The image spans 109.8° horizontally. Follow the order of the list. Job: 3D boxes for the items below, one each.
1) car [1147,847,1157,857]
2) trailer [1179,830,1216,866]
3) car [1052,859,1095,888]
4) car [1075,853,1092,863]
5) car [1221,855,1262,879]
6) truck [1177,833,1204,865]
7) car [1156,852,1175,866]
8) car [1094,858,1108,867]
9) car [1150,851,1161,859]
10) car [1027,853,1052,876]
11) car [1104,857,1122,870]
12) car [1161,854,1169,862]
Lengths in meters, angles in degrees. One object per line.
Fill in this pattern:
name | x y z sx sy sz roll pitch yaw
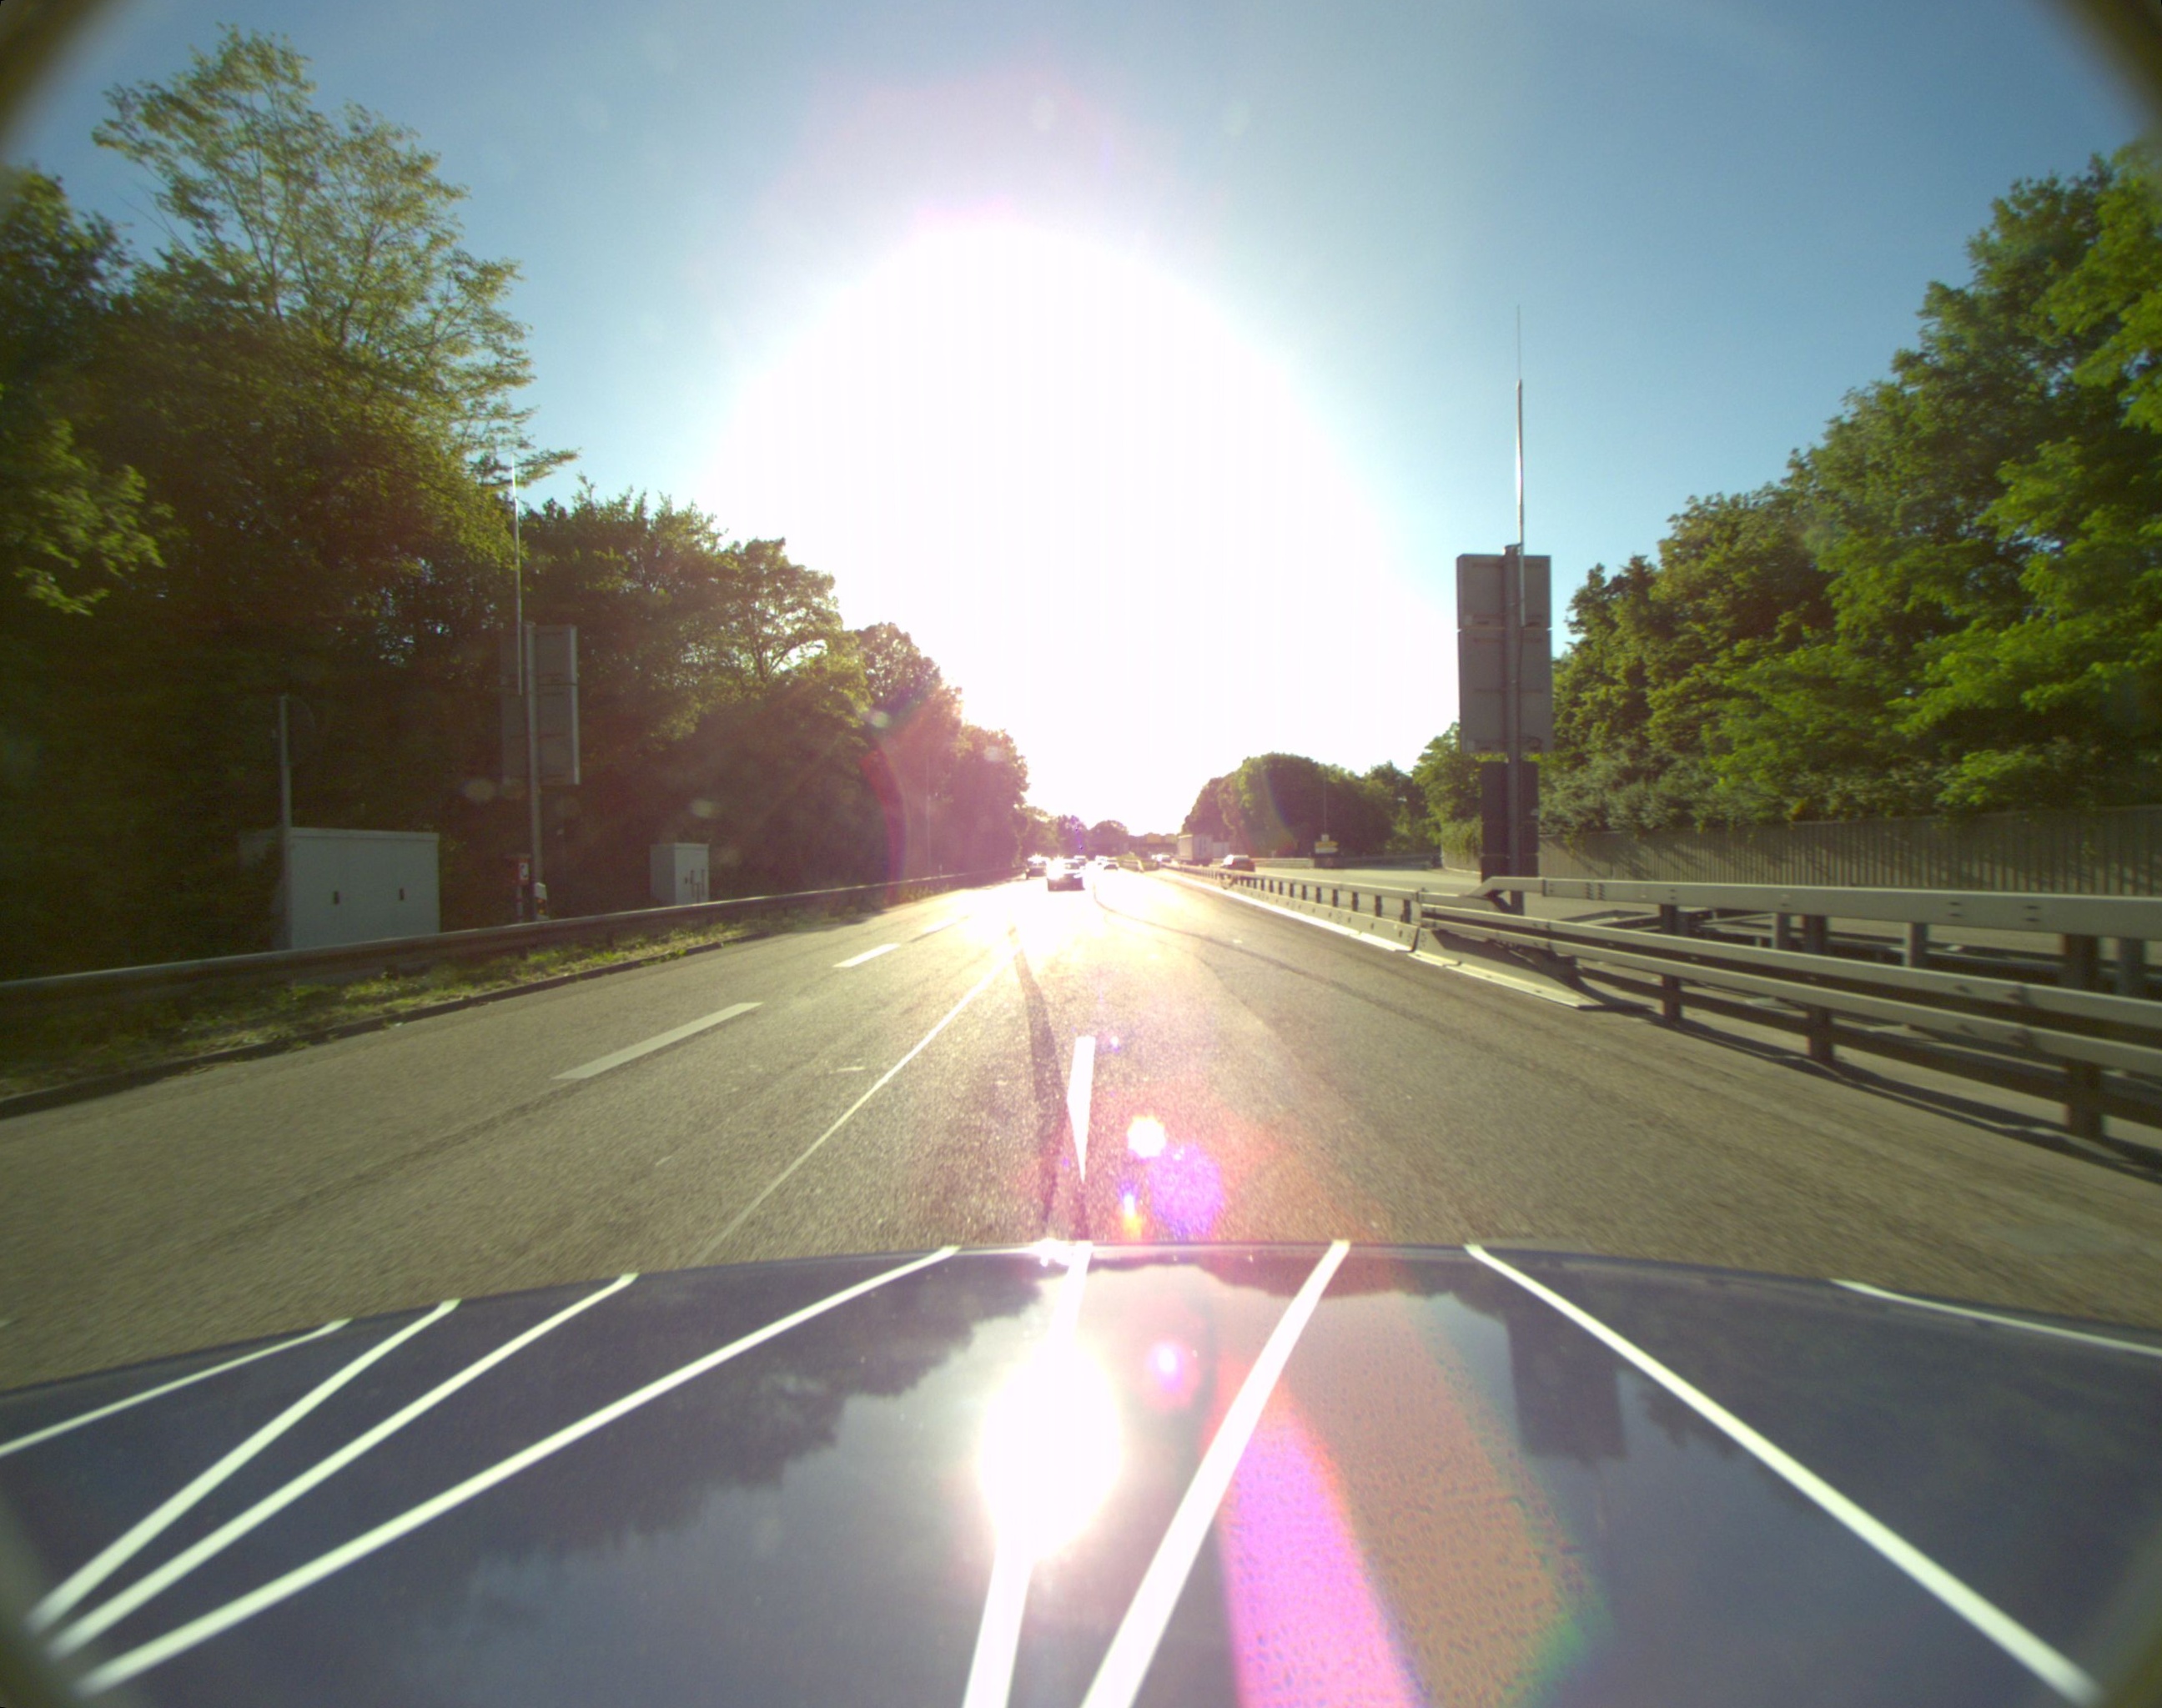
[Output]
car | 18.652 -0.454 199.376 2.152 2.595 6.054 -3 -1 3
trailer | 15.225 -0.651 100.493 2.754 4.254 14.087 -3 -1 0
car | -0.338 1.002 40.666 1.998 1.406 4.831 0 0 3
car | 0.397 0.607 110.769 1.998 1.406 4.832 -2 0 4
car | 10.670 0.889 50.719 1.998 1.477 4.201 -2 -1 3
truck | 15.315 -0.574 106.958 2.742 4.236 6.388 -3 -1 0
car | 10.805 0.649 97.449 1.998 1.648 4.939 -3 -1 1
car | 3.342 1.349 125.873 1.998 1.406 4.832 -2 0 4
car | 16.615 0.240 170.010 1.998 1.772 4.786 -3 -1 1
car | -3.162 0.823 58.530 1.746 1.652 4.000 -3 -1 -2
car | 3.763 1.080 88.302 1.998 1.406 4.832 -2 0 3
car | 23.865 1.078 216.572 2.081 2.267 5.377 -3 -1 5
